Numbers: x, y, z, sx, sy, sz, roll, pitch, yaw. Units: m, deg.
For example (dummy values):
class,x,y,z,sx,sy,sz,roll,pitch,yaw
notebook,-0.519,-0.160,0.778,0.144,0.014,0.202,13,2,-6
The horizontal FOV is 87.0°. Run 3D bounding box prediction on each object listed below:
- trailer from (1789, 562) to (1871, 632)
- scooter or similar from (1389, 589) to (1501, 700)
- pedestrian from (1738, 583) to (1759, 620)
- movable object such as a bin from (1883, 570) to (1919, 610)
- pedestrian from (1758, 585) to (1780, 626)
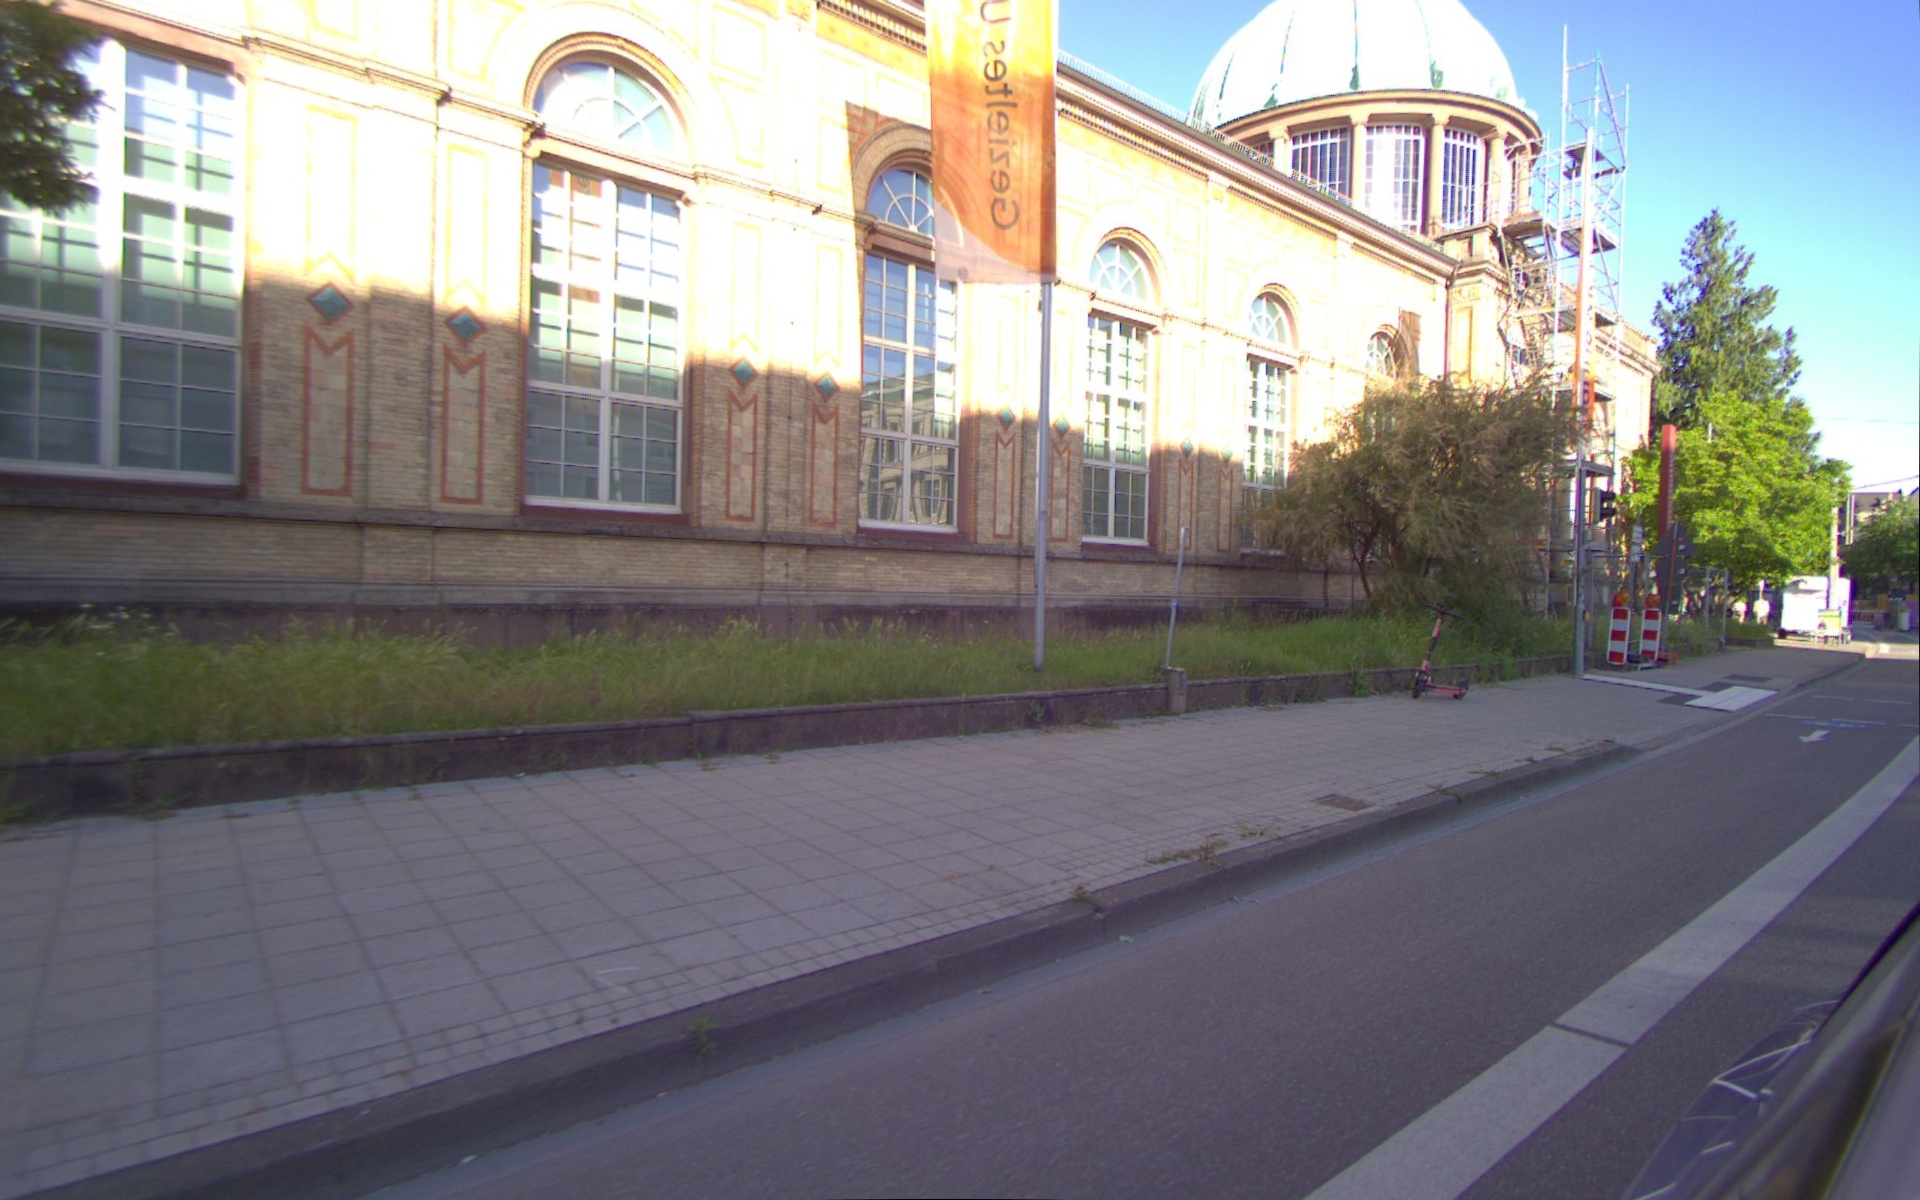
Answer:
class,x,y,z,sx,sy,sz,roll,pitch,yaw
trailer,34.397,-0.135,39.972,2.081,2.559,4.420,5,3,44
scooter or similar,6.250,0.537,13.000,1.799,1.325,0.556,1,1,-40
pedestrian,38.171,0.077,48.991,0.682,1.722,0.683,3,2,42
movable object such as a bin,80.906,-0.841,86.148,3.158,3.341,4.322,3,2,40
pedestrian,38.907,0.243,48.690,0.714,1.918,0.876,3,2,41
